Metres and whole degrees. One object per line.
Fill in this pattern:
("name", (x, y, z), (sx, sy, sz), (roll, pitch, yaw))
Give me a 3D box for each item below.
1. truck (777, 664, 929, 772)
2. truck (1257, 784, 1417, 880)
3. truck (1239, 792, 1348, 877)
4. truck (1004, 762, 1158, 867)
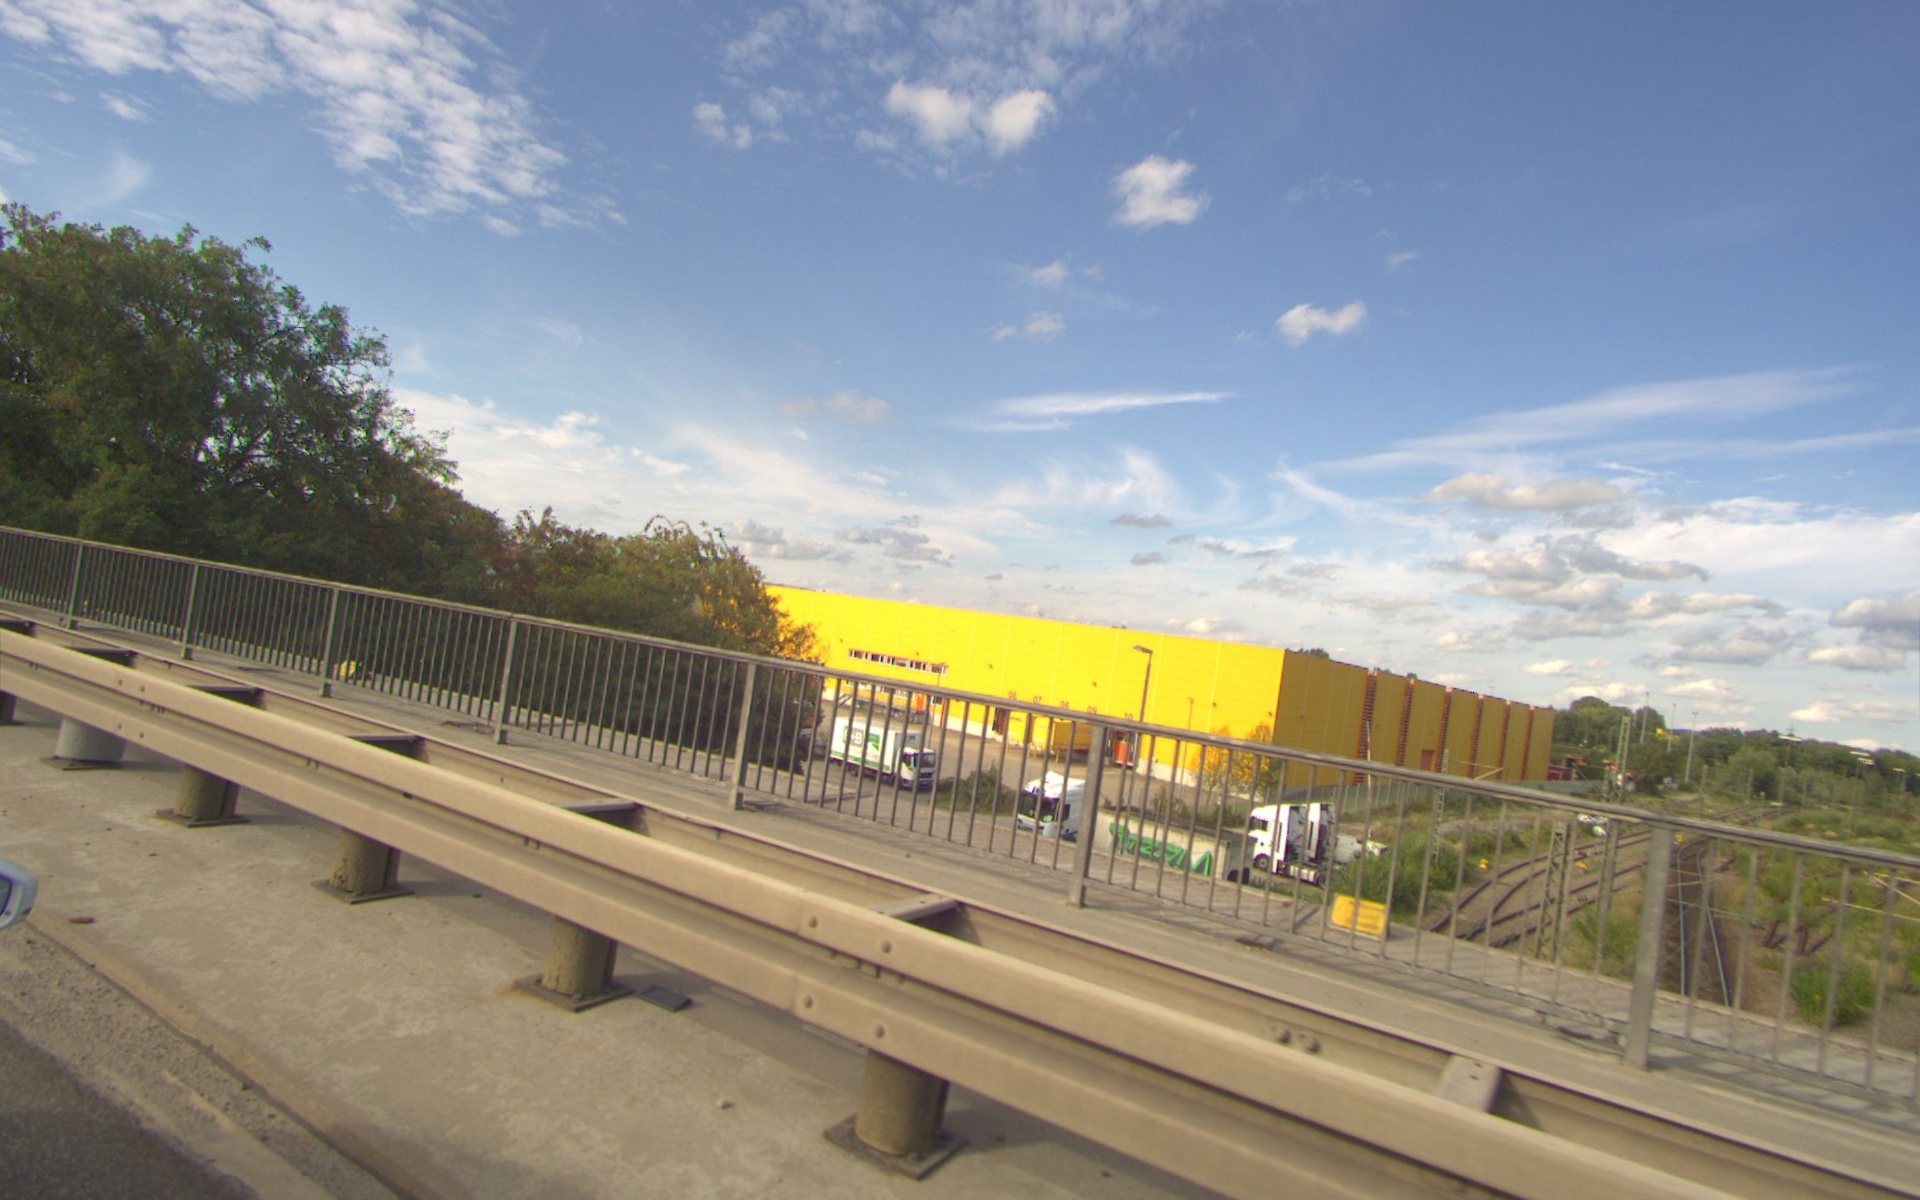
("truck", (-7.727, 8.113, 70.887), (11.123, 5.728, 3.623), (6, 0, 42))
("truck", (22.541, 13.820, 60.619), (8.494, 3.422, 2.028), (9, 1, 41))
("truck", (19.002, 13.161, 57.071), (2.630, 3.663, 7.195), (9, 1, 43))
("truck", (6.231, 10.508, 50.311), (2.630, 4.142, 8.574), (9, 1, 43))
